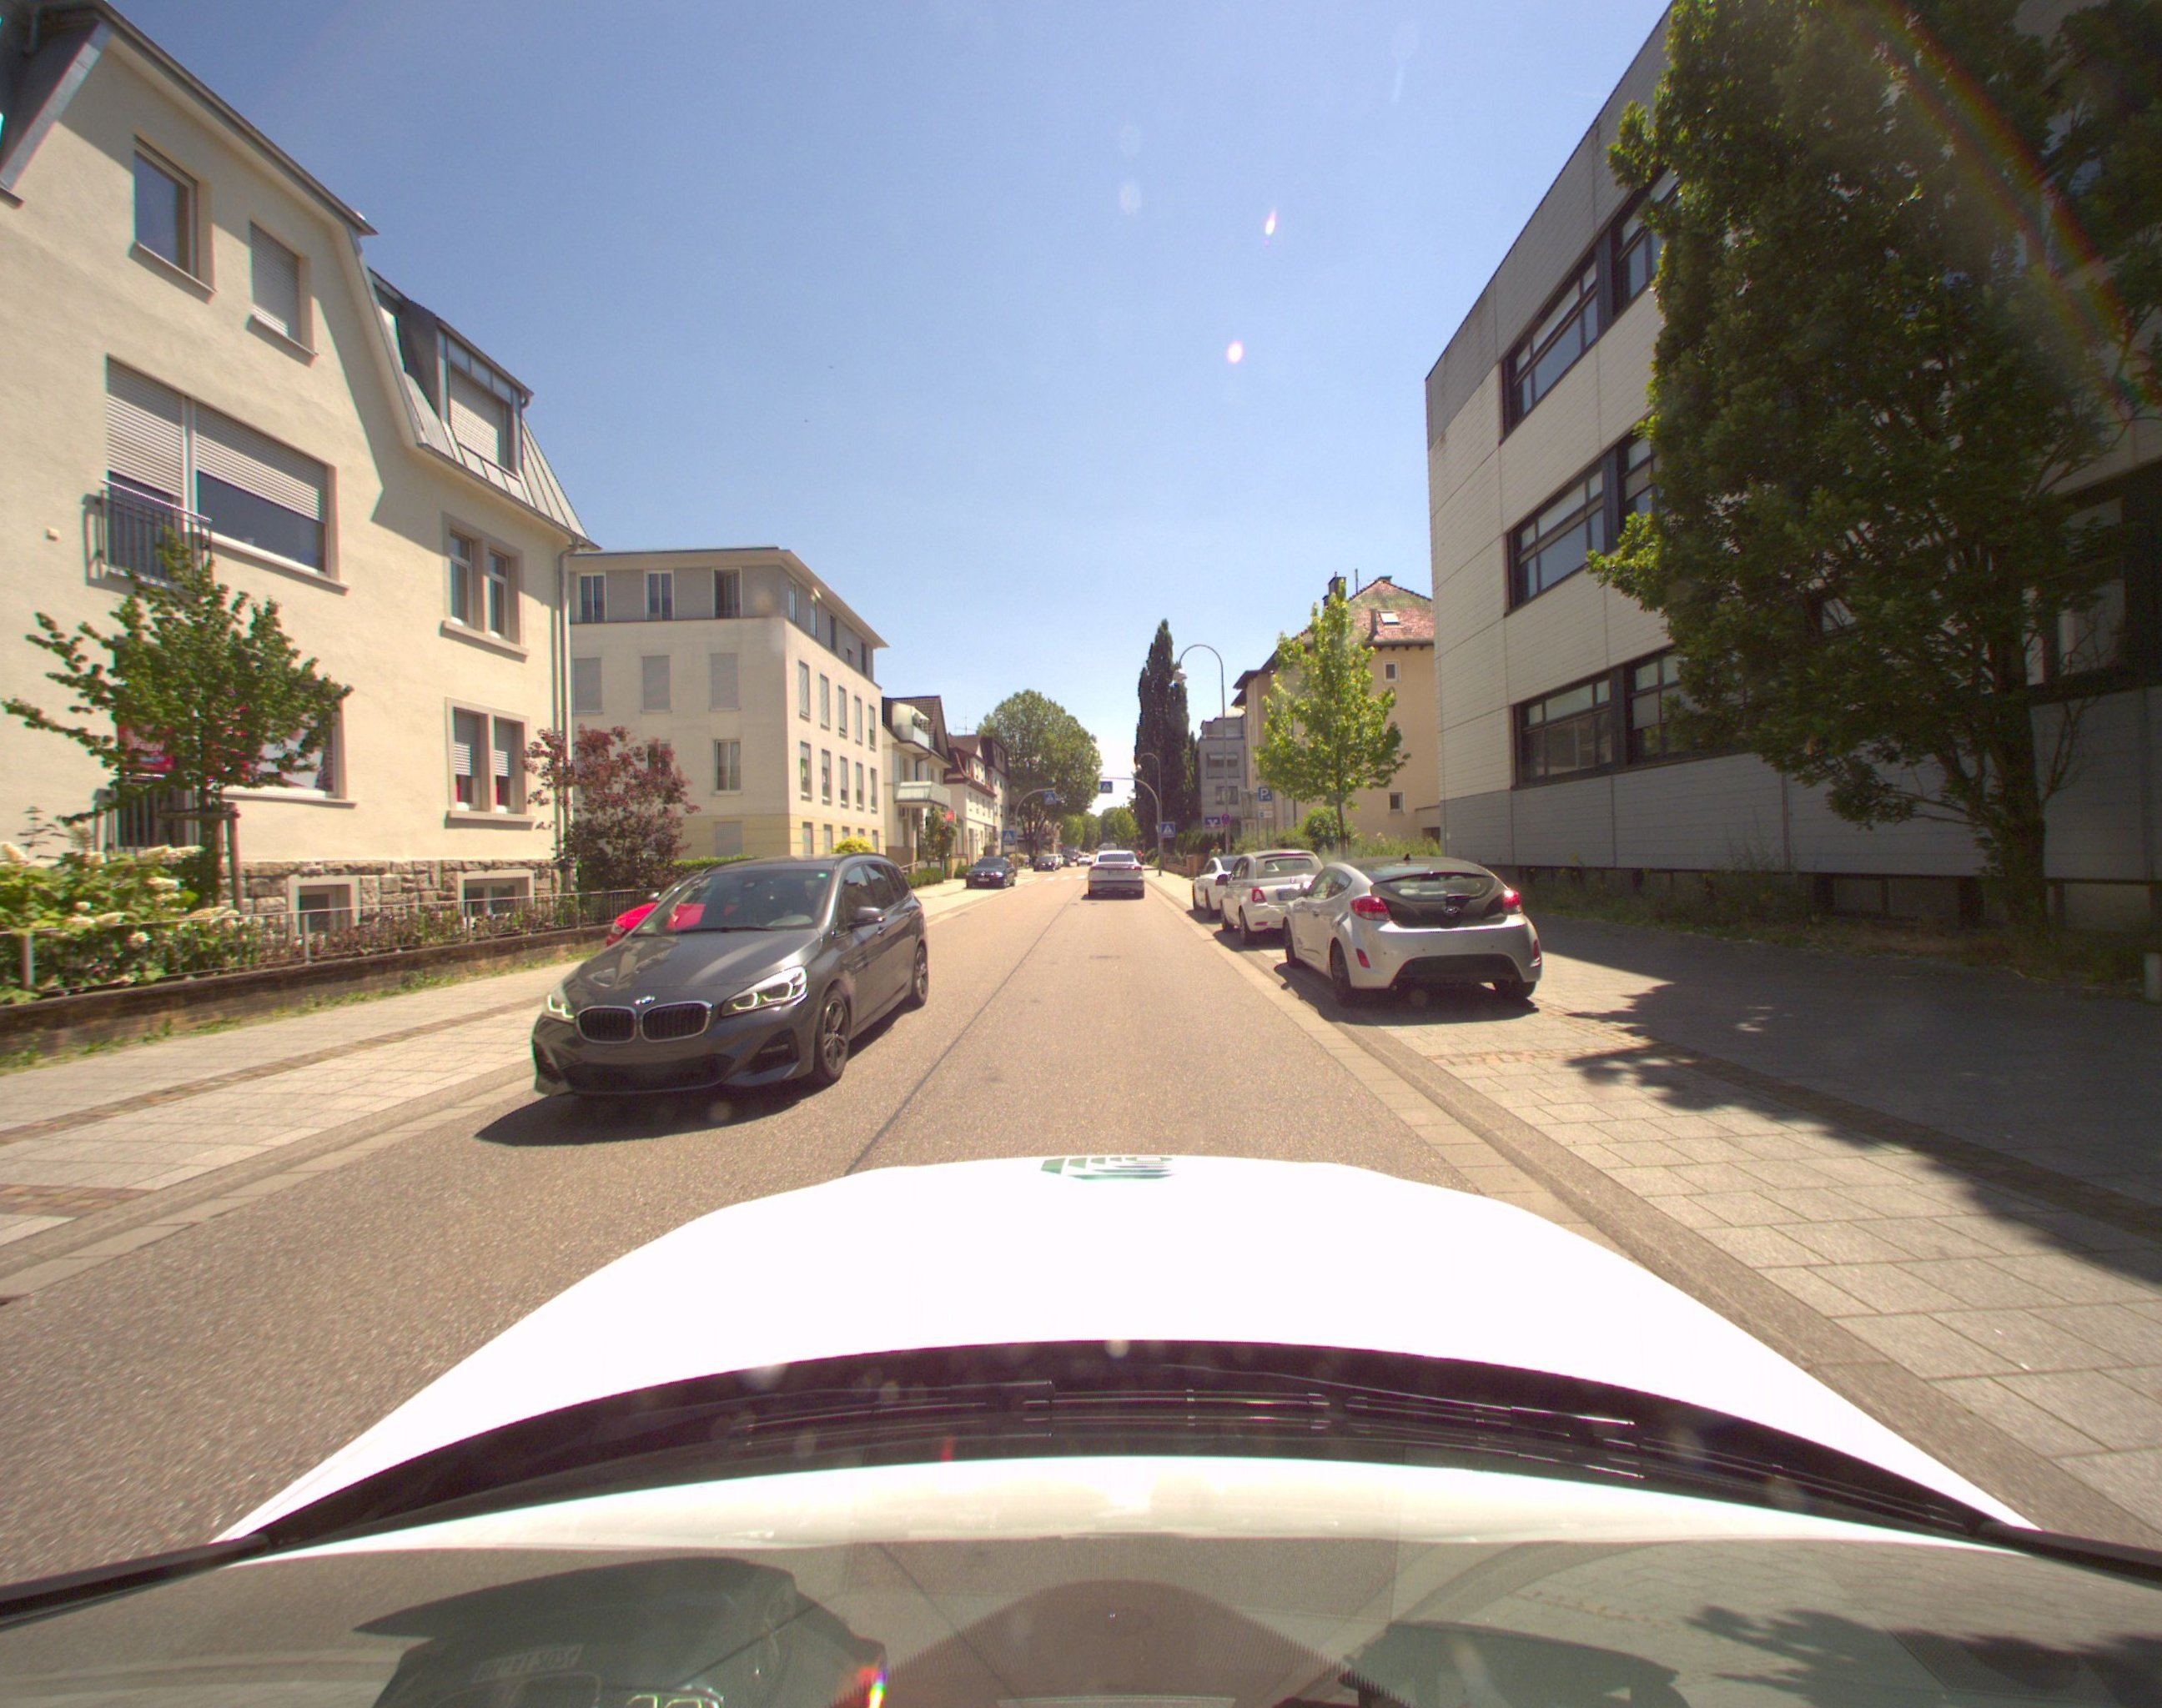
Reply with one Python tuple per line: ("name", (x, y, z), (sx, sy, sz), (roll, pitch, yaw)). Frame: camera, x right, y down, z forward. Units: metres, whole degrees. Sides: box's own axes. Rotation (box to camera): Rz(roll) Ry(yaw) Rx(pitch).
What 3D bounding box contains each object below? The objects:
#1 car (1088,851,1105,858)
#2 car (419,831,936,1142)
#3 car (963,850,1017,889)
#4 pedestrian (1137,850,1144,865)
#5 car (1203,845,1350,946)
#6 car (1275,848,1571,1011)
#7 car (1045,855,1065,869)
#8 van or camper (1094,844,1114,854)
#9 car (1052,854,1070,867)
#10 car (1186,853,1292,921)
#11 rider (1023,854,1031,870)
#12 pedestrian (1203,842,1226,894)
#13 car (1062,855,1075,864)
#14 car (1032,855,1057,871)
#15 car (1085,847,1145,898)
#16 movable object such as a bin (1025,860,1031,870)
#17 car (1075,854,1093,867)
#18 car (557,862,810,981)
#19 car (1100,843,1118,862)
("car", (3.775, 0.030, 197.640), (3.964, 1.651, 2.005), (-1, 0, 8))
("car", (-2.638, 0.744, 6.750), (1.967, 1.670, 4.472), (-1, 0, 1))
("car", (-4.330, 0.719, 39.492), (1.918, 1.720, 4.474), (1, 0, 2))
("pedestrian", (7.071, 0.443, 97.341), (0.692, 1.736, 0.667), (-1, -1, -3))
("car", (3.342, 0.650, 14.770), (1.652, 1.488, 4.346), (-3, 0, 1))
("car", (3.438, 0.673, 9.081), (1.854, 1.373, 4.005), (-2, -1, 4))
("car", (-2.886, 0.886, 90.618), (1.986, 1.520, 4.001), (-1, 0, 1))
("van or camper", (6.483, -1.344, 228.501), (5.156, 2.513, 2.277), (-1, 0, 13))
("car", (-2.328, 0.793, 96.759), (1.986, 1.520, 4.001), (-1, 0, 1))
("car", (3.637, 0.709, 19.521), (1.720, 1.383, 4.403), (-3, 0, 1))
("rider", (-5.362, 0.756, 80.504), (0.659, 1.553, 0.661), (-1, -1, 1))
("pedestrian", (4.664, 0.486, 28.437), (0.636, 1.758, 0.616), (-1, -1, -3))
("car", (-2.031, 0.887, 131.719), (1.986, 1.520, 4.001), (-1, 0, 1))
("car", (-3.228, 0.812, 72.988), (1.986, 1.349, 4.001), (-1, 0, 1))
("car", (1.200, 0.624, 28.987), (1.928, 1.614, 4.474), (1, 0, 2))
("movable object such as a bin", (-5.290, 1.066, 81.116), (0.585, 0.952, 0.567), (-1, 0, 1))
("car", (0.376, 0.739, 96.708), (1.972, 1.520, 4.001), (-1, 0, 1))
("car", (-5.650, 0.864, 12.188), (1.642, 1.419, 3.909), (1, 0, 3))
("car", (3.382, -0.190, 98.400), (2.063, 2.197, 5.138), (-1, 0, 0))
